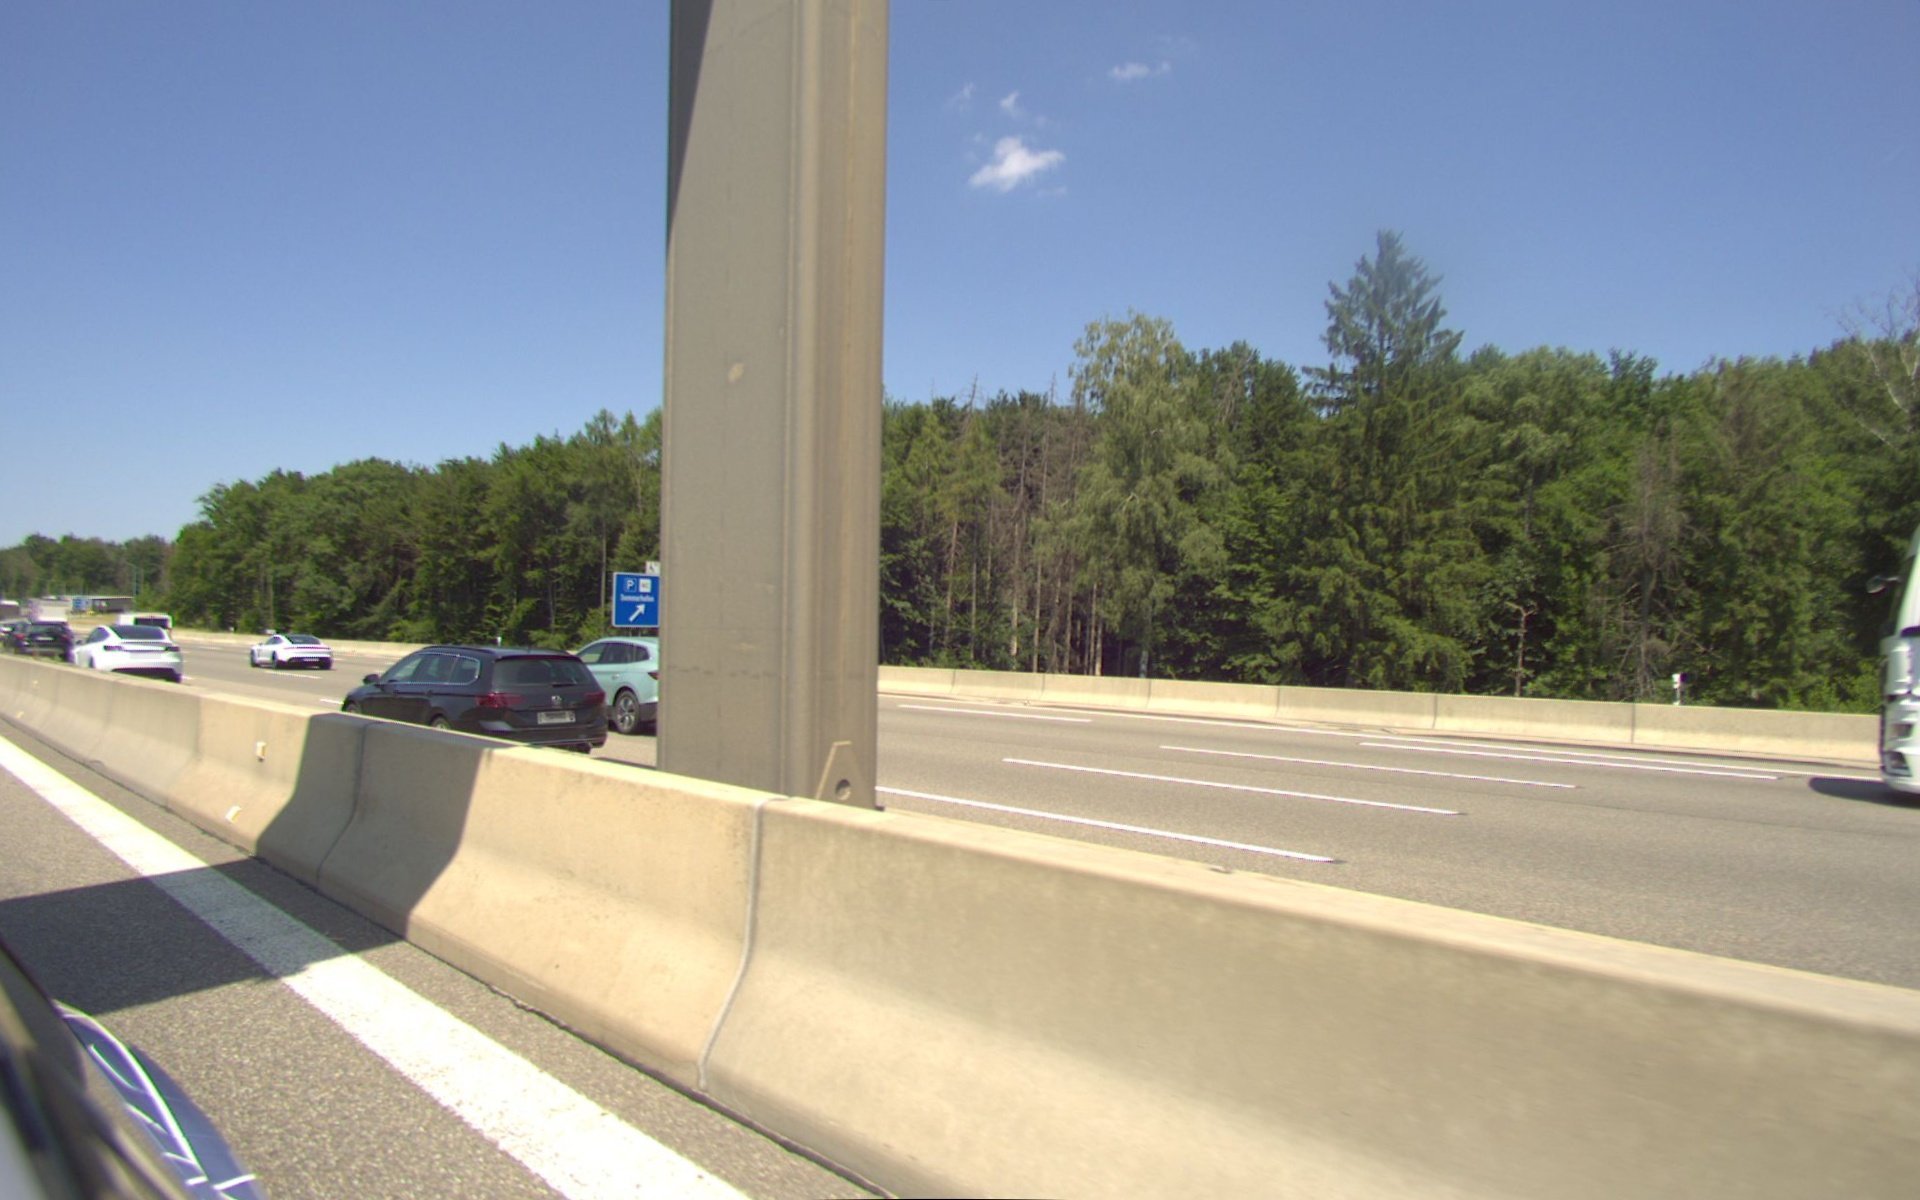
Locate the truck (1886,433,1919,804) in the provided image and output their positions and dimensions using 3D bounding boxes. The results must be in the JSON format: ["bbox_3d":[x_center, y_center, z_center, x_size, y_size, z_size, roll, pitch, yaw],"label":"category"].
[{"bbox_3d":[14.123,0.258,10.633,6.375,4.252,2.731,0,-2,41],"label":"truck"}]

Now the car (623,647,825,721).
[{"bbox_3d":[-5.295,1.783,22.299,4.926,1.397,1.831,-1,-4,42],"label":"car"}]

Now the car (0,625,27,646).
[{"bbox_3d":[-69.139,2.561,73.351,4.524,1.455,1.661,-1,-3,41],"label":"car"}]

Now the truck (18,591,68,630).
[{"bbox_3d":[-99.159,1.123,109.352,10.231,3.969,2.691,0,-2,41],"label":"truck"}]

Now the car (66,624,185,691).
[{"bbox_3d":[-22.951,1.523,27.769,4.473,1.686,1.793,-1,-3,41],"label":"car"}]

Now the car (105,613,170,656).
[{"bbox_3d":[-50.863,2.083,62.538,6.623,2.431,1.910,0,-4,41],"label":"car"}]

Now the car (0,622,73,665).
[{"bbox_3d":[-38.031,1.743,41.560,4.200,1.686,1.736,-1,-3,40],"label":"car"}]

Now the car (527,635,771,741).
[{"bbox_3d":[-5.652,1.467,18.060,4.878,1.602,1.799,-1,-3,40],"label":"car"}]

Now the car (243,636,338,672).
[{"bbox_3d":[-27.029,2.136,40.803,4.842,1.316,1.972,-1,-2,41],"label":"car"}]

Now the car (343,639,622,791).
[{"bbox_3d":[-6.050,1.296,12.624,4.066,1.562,1.522,-1,-2,39],"label":"car"}]
